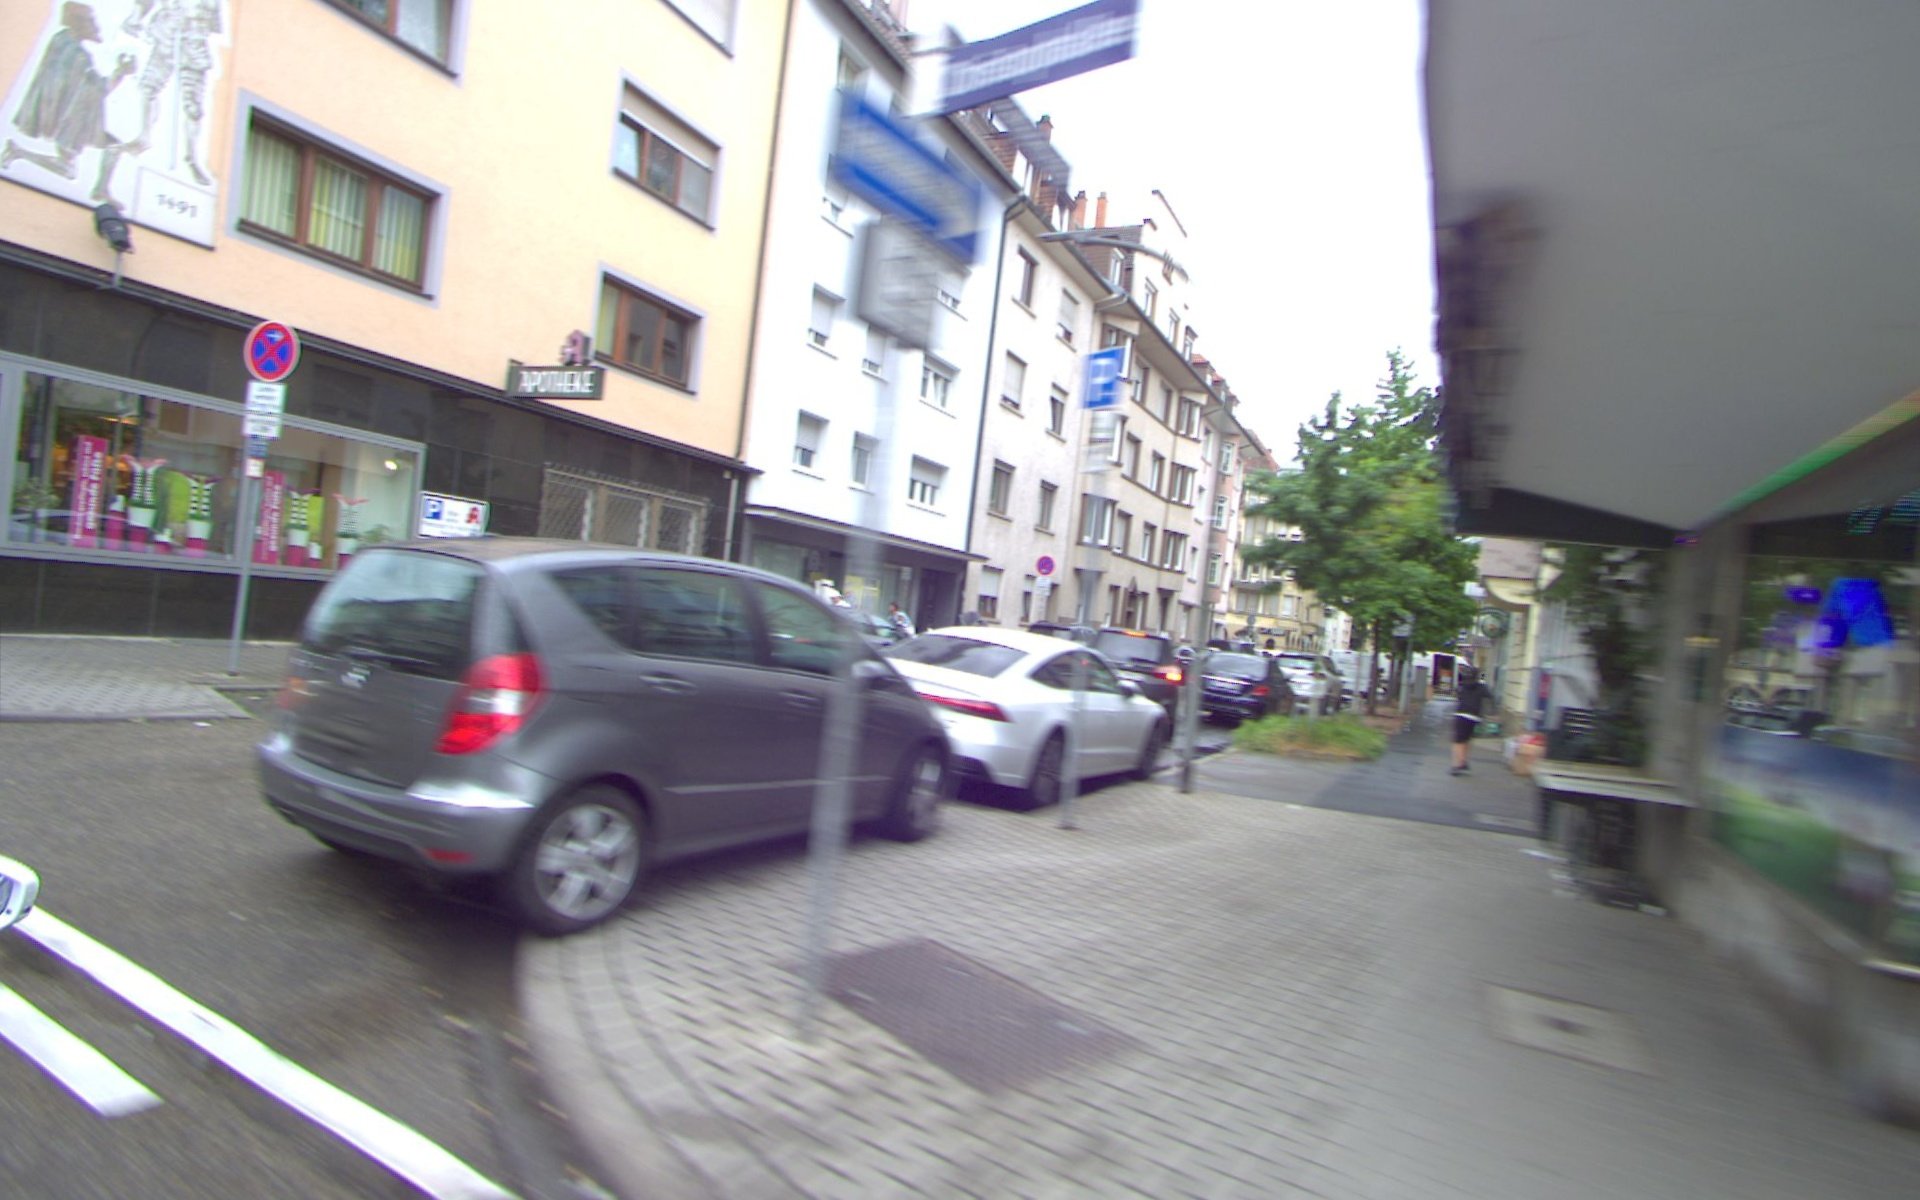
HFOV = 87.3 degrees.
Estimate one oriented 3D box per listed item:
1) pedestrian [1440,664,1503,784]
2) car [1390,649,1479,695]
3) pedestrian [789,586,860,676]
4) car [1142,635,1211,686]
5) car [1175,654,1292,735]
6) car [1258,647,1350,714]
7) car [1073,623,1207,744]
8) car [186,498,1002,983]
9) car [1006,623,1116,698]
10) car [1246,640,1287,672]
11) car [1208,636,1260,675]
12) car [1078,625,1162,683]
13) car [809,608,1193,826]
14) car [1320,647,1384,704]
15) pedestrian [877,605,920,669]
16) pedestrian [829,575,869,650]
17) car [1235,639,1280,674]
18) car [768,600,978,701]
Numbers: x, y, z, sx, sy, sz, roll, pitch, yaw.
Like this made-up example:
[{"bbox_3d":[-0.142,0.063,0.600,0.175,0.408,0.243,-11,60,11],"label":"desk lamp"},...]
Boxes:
[{"bbox_3d":[7.338,1.758,14.447,0.634,1.594,0.704,6,1,27],"label":"pedestrian"},{"bbox_3d":[26.743,4.065,56.818,3.924,2.039,2.001,6,0,5],"label":"car"},{"bbox_3d":[-2.723,0.627,20.252,0.936,1.688,0.860,6,1,23],"label":"pedestrian"},{"bbox_3d":[8.021,2.220,37.074,1.662,1.588,3.728,6,0,24],"label":"car"},{"bbox_3d":[5.911,1.929,21.423,1.838,1.320,3.933,6,0,22],"label":"car"},{"bbox_3d":[10.037,2.301,29.188,1.839,1.577,4.075,6,0,27],"label":"car"},{"bbox_3d":[2.973,1.320,17.393,1.771,1.638,4.024,6,0,5],"label":"car"},{"bbox_3d":[-1.563,0.558,5.594,1.904,1.593,3.831,6,0,30],"label":"car"},{"bbox_3d":[2.738,1.573,26.520,1.662,1.650,3.728,6,0,24],"label":"car"},{"bbox_3d":[17.415,3.197,57.146,1.662,1.588,3.728,6,0,24],"label":"car"},{"bbox_3d":[12.794,2.584,46.797,1.662,1.588,3.728,6,0,24],"label":"car"},{"bbox_3d":[5.237,1.754,32.622,1.662,1.588,3.728,6,0,24],"label":"car"},{"bbox_3d":[0.684,1.022,9.876,1.757,1.460,4.485,6,0,30],"label":"car"},{"bbox_3d":[15.986,3.060,40.947,1.839,1.985,4.075,6,0,27],"label":"car"},{"bbox_3d":[-1.407,0.856,23.088,0.614,1.391,0.691,6,1,23],"label":"pedestrian"},{"bbox_3d":[-2.595,0.298,23.533,0.583,1.704,0.538,6,1,23],"label":"pedestrian"},{"bbox_3d":[15.488,2.937,52.234,1.662,1.588,3.728,6,0,24],"label":"car"},{"bbox_3d":[-1.372,0.887,17.681,1.838,1.369,4.078,6,0,24],"label":"car"}]
